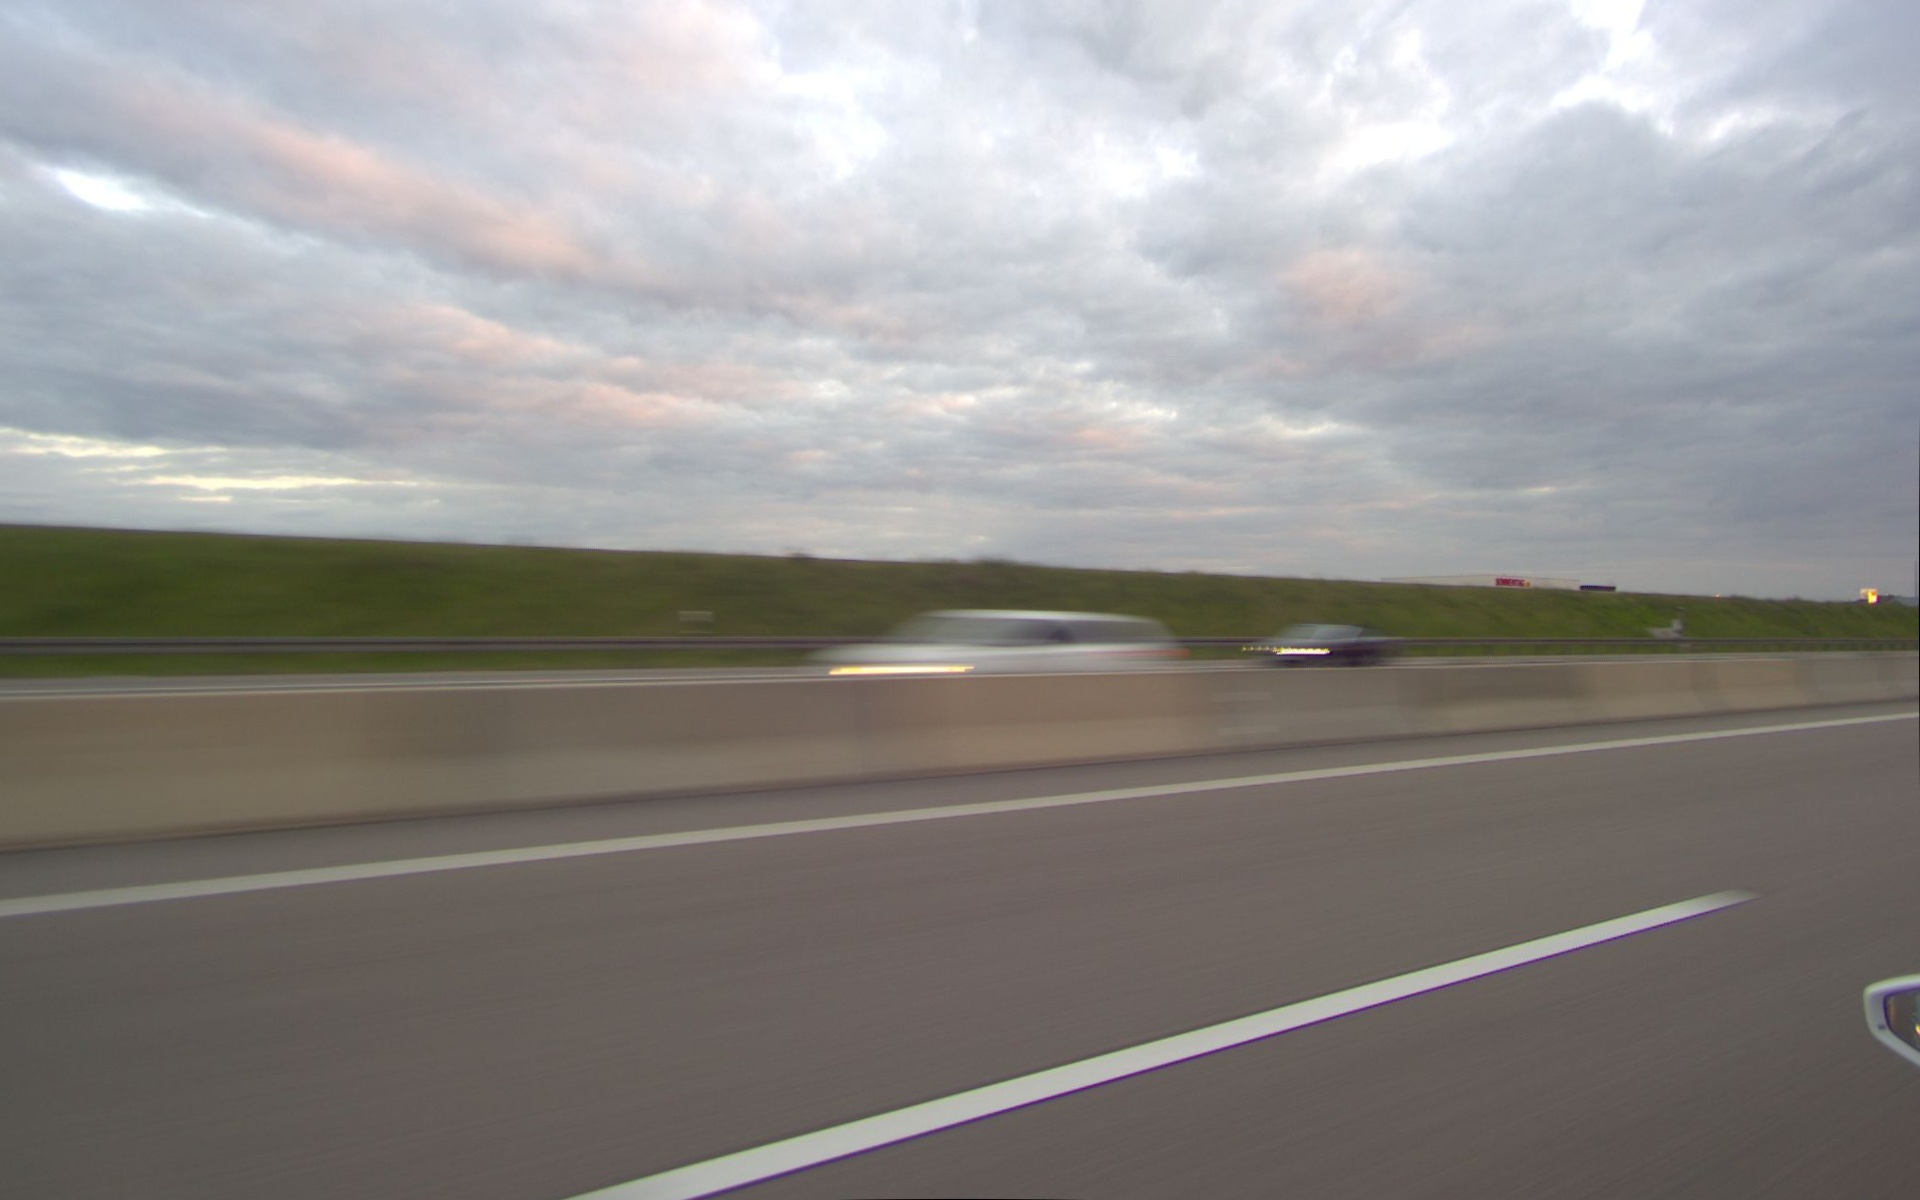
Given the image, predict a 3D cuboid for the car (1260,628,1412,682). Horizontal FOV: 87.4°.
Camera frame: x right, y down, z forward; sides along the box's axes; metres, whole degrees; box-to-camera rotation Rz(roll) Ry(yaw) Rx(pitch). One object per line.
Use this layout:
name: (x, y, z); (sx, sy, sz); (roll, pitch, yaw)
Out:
car: (10.648, 1.513, 28.370); (4.292, 1.411, 1.730); (1, -1, -31)

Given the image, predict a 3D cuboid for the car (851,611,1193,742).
car: (1.051, 1.094, 15.701); (5.123, 1.758, 1.984); (1, -1, -31)
